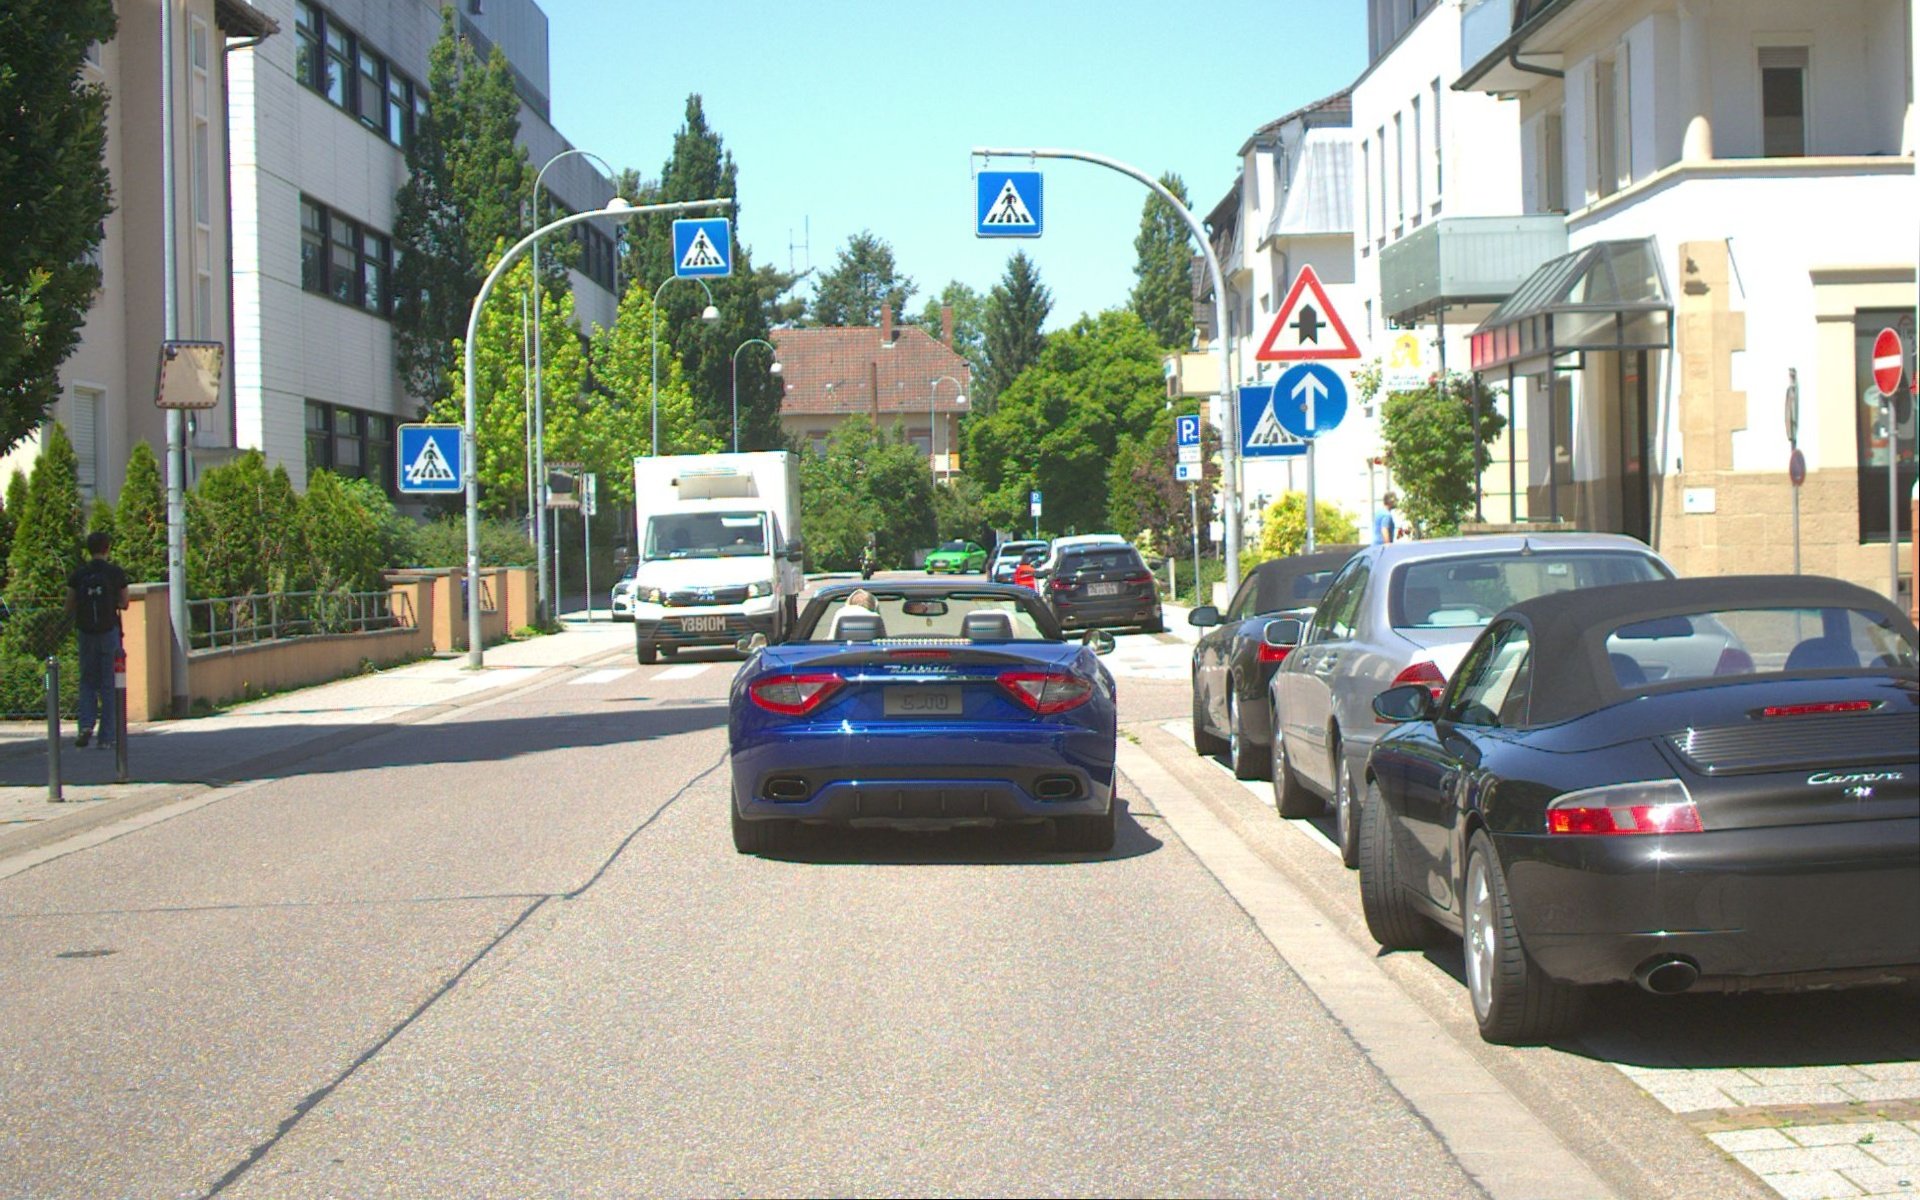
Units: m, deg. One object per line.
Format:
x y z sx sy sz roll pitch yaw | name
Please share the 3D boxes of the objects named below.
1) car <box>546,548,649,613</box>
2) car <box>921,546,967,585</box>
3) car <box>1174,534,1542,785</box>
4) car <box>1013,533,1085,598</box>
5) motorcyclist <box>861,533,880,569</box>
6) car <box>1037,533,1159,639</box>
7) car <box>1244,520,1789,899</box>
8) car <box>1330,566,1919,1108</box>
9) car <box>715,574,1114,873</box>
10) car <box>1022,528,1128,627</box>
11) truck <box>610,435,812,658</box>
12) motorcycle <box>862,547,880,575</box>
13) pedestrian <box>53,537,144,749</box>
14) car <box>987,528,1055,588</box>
-8.044 -0.456 76.546 1.822 1.406 4.577 0 1 0 | car
-0.707 -1.558 153.043 1.822 1.583 4.100 3 2 2 | car
2.538 0.323 23.011 1.826 1.422 4.700 -3 1 0 | car
2.153 -0.850 83.709 1.603 1.436 3.853 -4 1 1 | car
-3.646 -2.011 140.377 0.698 1.428 0.707 -3 1 -1 | motorcyclist
2.216 -0.268 56.169 1.705 1.551 4.748 -3 1 0 | car
2.505 0.419 16.651 1.744 1.463 4.852 -3 1 0 | car
2.250 0.601 11.093 1.557 1.336 4.174 -2 1 -1 | car
-0.222 0.551 18.155 1.826 1.332 4.700 0 1 0 | car
2.036 -0.445 62.090 1.705 1.660 4.580 -2 1 0 | car
-3.529 -0.784 50.011 2.420 2.973 6.258 -2 1 0 | truck
-3.632 -1.615 140.542 0.698 1.103 1.790 -3 1 -1 | motorcycle
-6.933 0.336 27.683 0.536 1.679 0.708 -1 1 0 | pedestrian
1.766 -1.248 100.909 1.843 1.614 4.427 -3 1 0 | car
